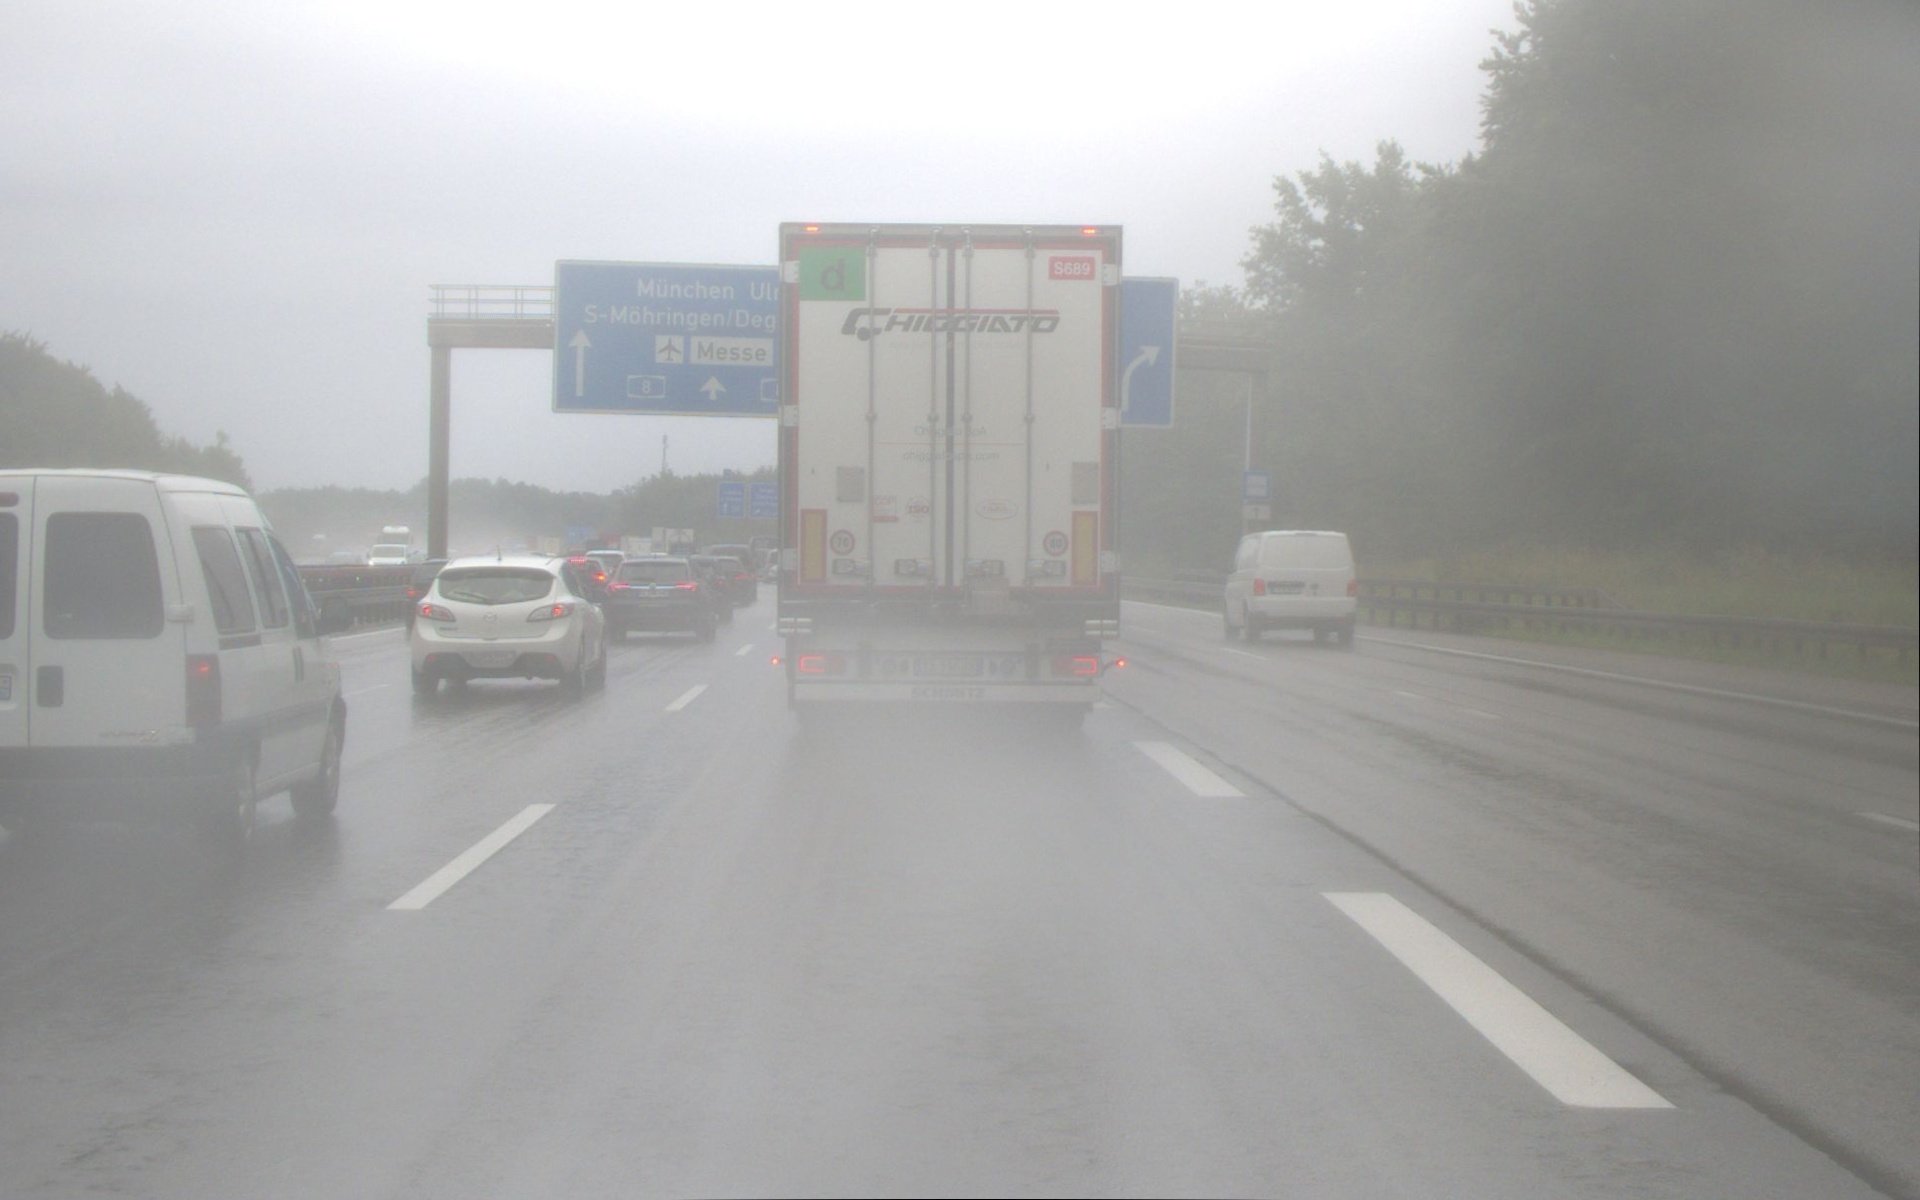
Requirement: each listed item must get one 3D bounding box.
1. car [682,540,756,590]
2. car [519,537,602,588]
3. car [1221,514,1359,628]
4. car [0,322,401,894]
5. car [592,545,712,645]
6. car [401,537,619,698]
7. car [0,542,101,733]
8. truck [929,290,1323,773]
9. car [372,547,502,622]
[{"bbox_3d":[-6.829,-1.007,97.705,1.845,1.326,4.467,1,1,-1],"label":"car"},{"bbox_3d":[-11.047,-1.059,95.311,1.845,1.326,4.467,1,1,-1],"label":"car"},{"bbox_3d":[5.803,-0.557,60.949,1.990,1.914,4.767,1,1,1],"label":"car"},{"bbox_3d":[-4.433,-0.029,17.981,2.213,2.564,5.016,1,1,0],"label":"car"},{"bbox_3d":[-5.247,-0.114,59.020,1.845,1.586,4.467,1,1,-3],"label":"car"},{"bbox_3d":[-4.777,0.141,37.018,1.845,1.586,4.072,1,1,-1],"label":"car"},{"bbox_3d":[-9.086,0.297,30.404,1.845,1.586,4.467,1,1,0],"label":"car"},{"bbox_3d":[1.396,-0.573,31.225,2.872,3.550,11.302,1,1,2],"label":"truck"},{"bbox_3d":[-9.959,-0.322,65.729,1.845,1.326,4.467,1,1,-1],"label":"car"}]
